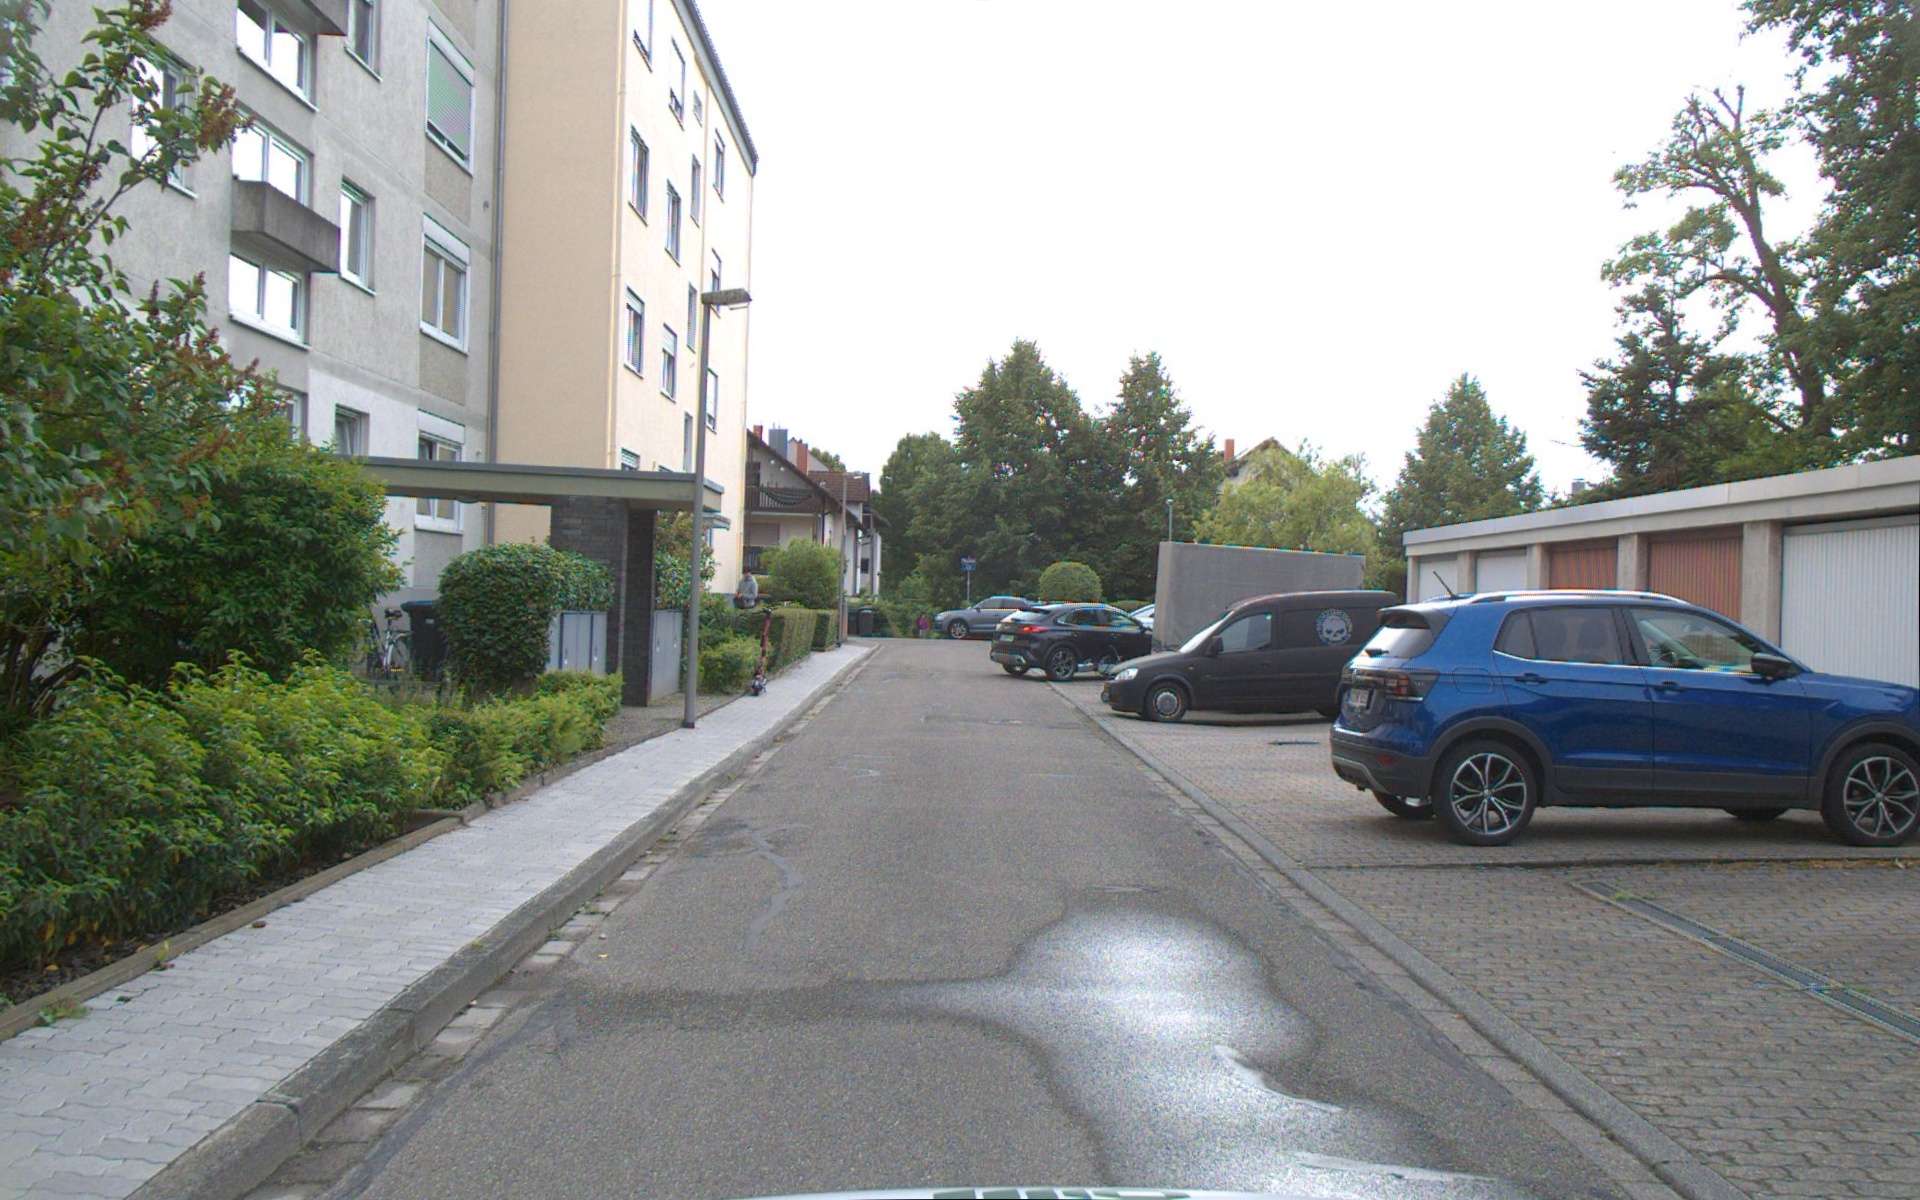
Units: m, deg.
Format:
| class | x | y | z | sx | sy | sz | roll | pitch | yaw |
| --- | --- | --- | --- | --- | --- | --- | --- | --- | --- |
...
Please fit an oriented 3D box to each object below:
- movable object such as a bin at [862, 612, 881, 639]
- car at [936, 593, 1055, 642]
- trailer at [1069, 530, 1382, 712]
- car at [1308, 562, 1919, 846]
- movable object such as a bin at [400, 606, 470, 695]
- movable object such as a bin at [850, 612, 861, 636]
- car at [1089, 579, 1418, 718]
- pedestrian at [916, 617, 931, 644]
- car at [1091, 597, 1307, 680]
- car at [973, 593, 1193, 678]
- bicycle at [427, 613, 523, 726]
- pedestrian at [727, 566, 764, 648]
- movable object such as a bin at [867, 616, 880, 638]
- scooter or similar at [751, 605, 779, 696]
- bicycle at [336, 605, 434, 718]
| class | x | y | z | sx | sy | sz | roll | pitch | yaw |
| --- | --- | --- | --- | --- | --- | --- | --- | --- | --- |
| movable object such as a bin | -3.281 | 0.944 | 61.346 | 0.625 | 0.970 | 0.722 | 3 | 0 | -2 |
| car | 1.236 | 0.636 | 59.396 | 4.151 | 1.558 | 1.746 | 2 | -2 | -1 |
| trailer | 4.086 | 0.317 | 25.975 | 4.515 | 2.569 | 1.942 | 2 | 0 | -1 |
| car | 4.555 | 0.636 | 11.284 | 3.906 | 1.733 | 1.999 | 0 | 0 | -2 |
| movable object such as a bin | -6.303 | 0.597 | 19.861 | 0.525 | 1.037 | 0.580 | 2 | 0 | 20 |
| movable object such as a bin | -3.960 | 0.908 | 62.903 | 0.378 | 0.905 | 0.379 | 3 | 0 | -3 |
| car | 4.014 | 0.645 | 23.172 | 4.223 | 1.833 | 1.999 | 0 | 0 | -2 |
| pedestrian | -2.131 | 1.766 | 95.955 | 0.799 | 1.544 | 0.438 | 2 | -1 | -3 |
| car | 5.174 | 0.819 | 36.233 | 4.444 | 1.616 | 1.988 | 2 | 0 | 1 |
| car | 2.440 | 0.658 | 32.895 | 3.936 | 1.579 | 1.984 | 0 | 0 | -25 |
| bicycle | -4.897 | 0.682 | 16.770 | 0.444 | 1.052 | 1.546 | 4 | 0 | 0 |
| pedestrian | -4.750 | 0.152 | 36.707 | 0.665 | 1.779 | 0.756 | 3 | 0 | -3 |
| movable object such as a bin | -3.299 | 1.042 | 63.256 | 0.450 | 0.811 | 0.379 | 3 | 0 | -3 |
| scooter or similar | -2.755 | 0.698 | 23.422 | 0.267 | 1.232 | 1.164 | 2 | 0 | -2 |
| bicycle | -5.745 | 0.590 | 16.591 | 0.366 | 1.052 | 1.546 | 4 | 0 | 0 |
